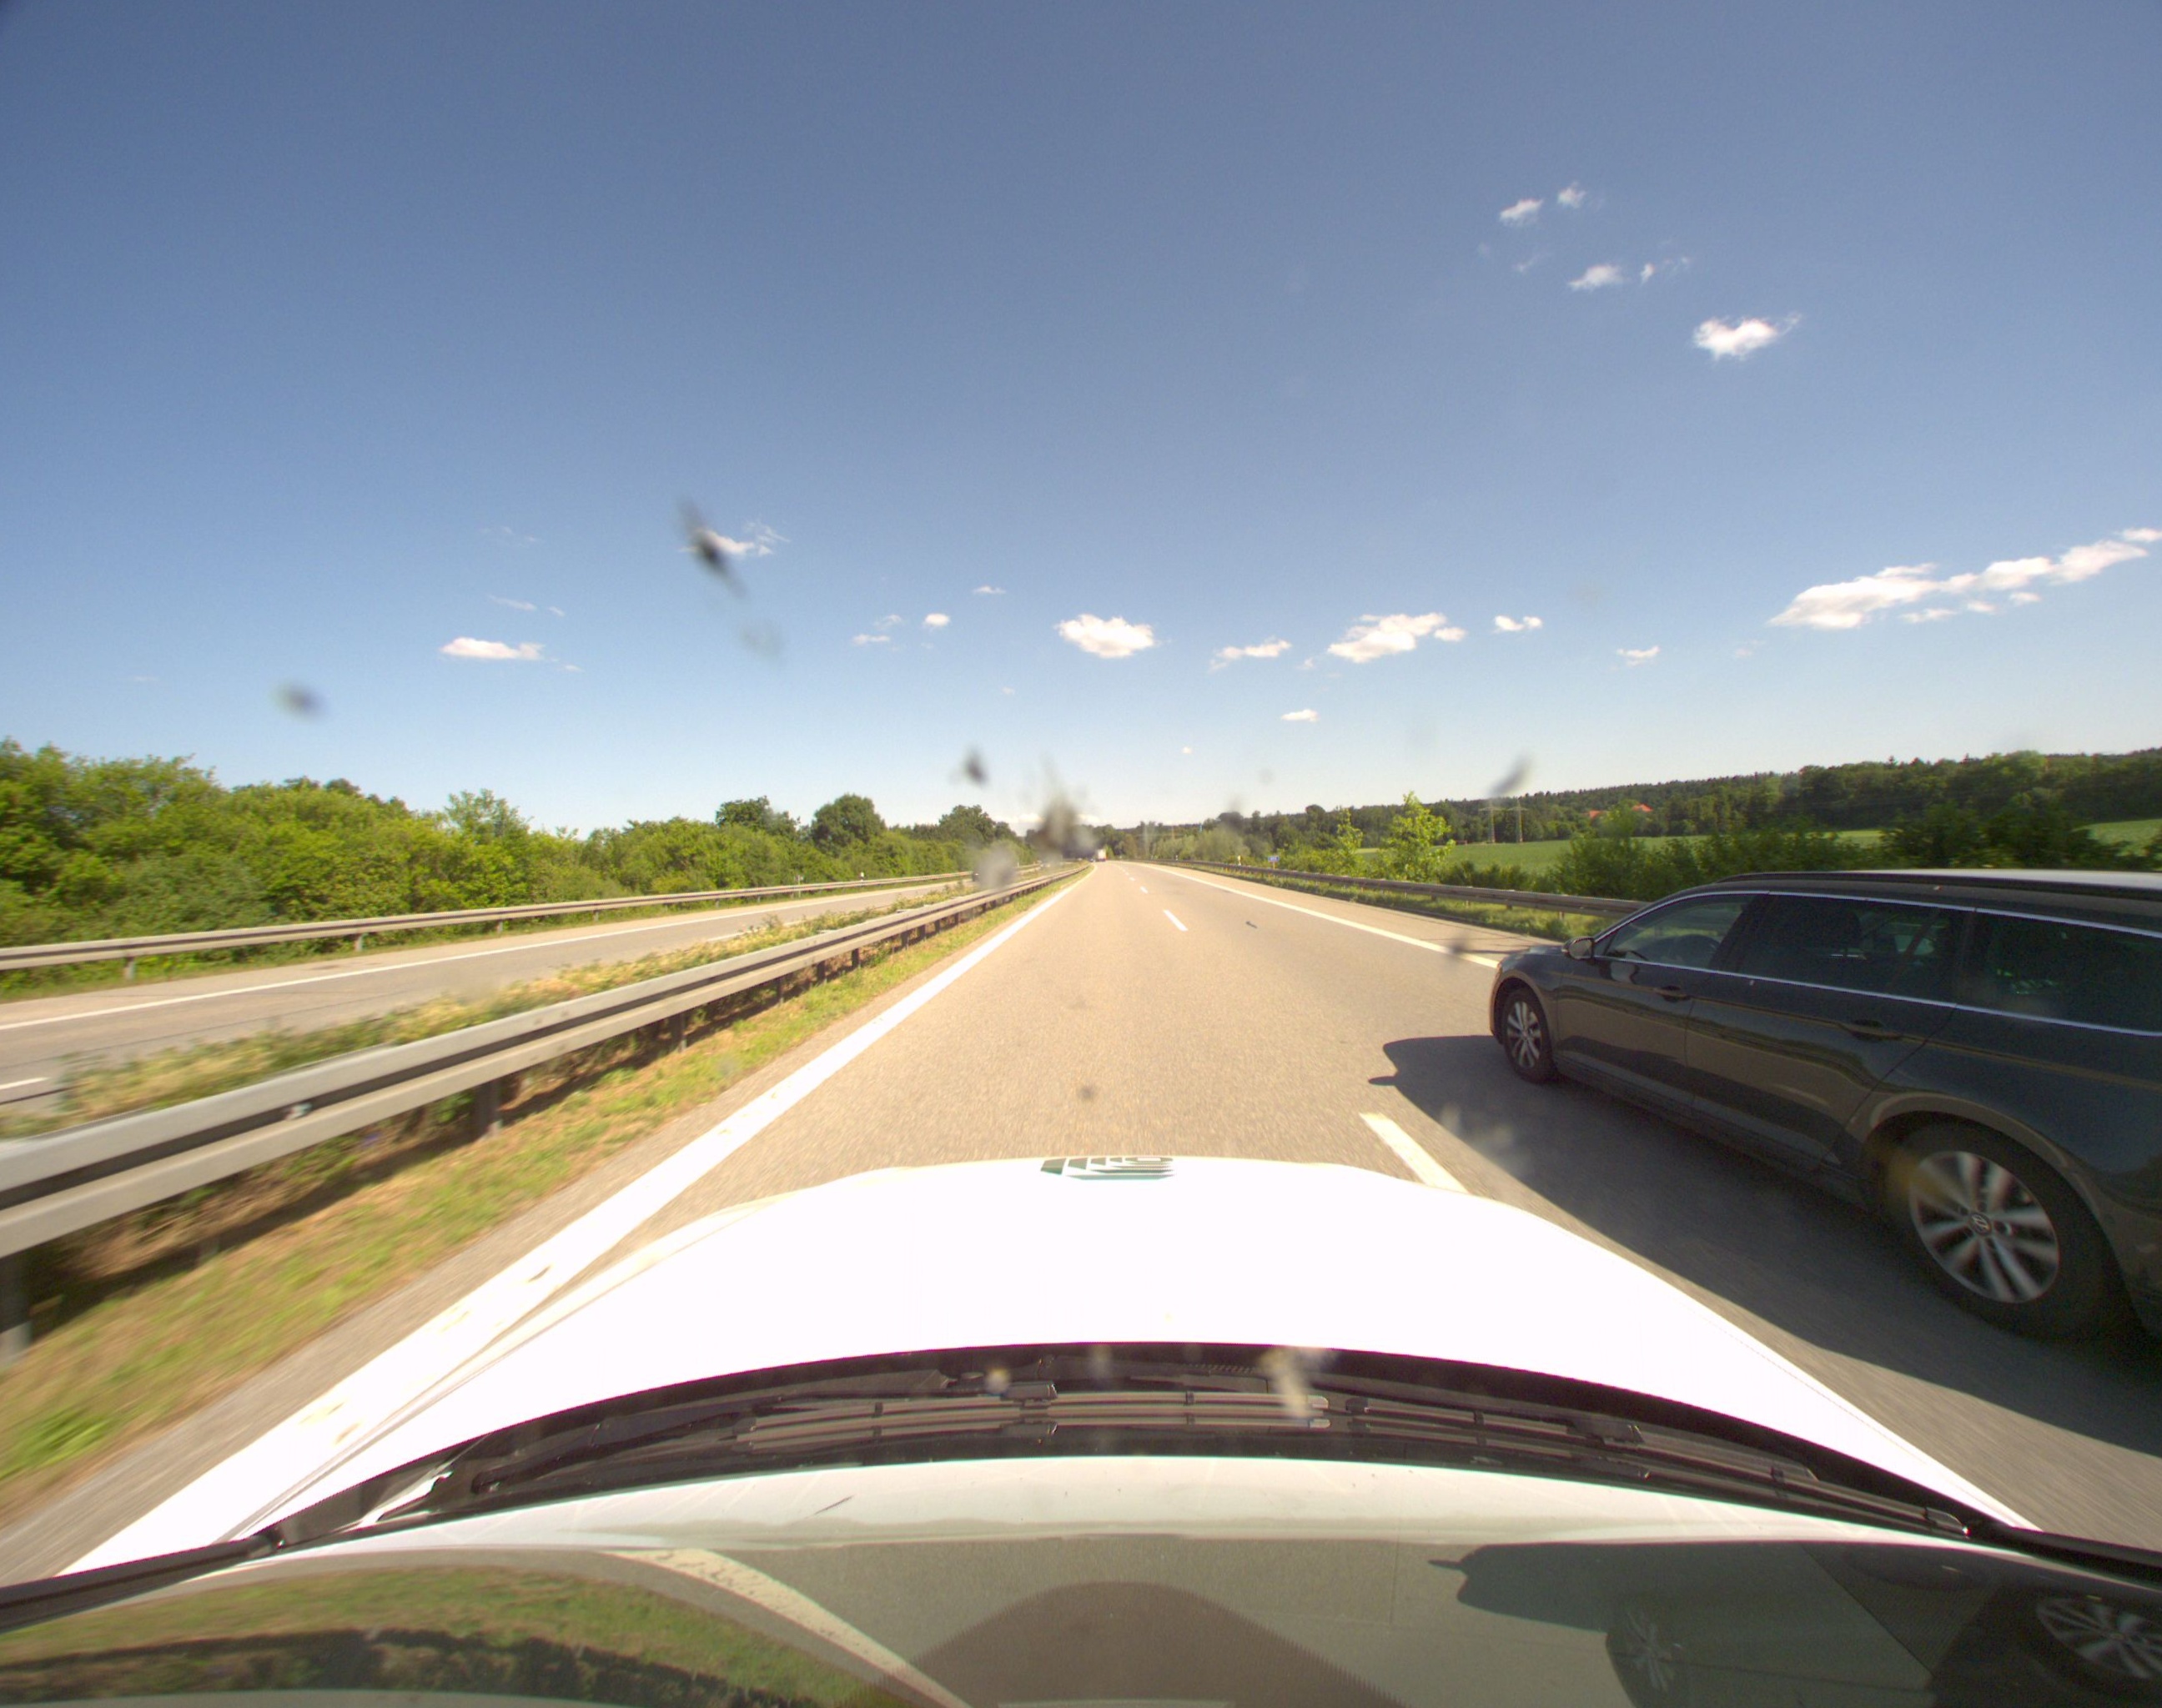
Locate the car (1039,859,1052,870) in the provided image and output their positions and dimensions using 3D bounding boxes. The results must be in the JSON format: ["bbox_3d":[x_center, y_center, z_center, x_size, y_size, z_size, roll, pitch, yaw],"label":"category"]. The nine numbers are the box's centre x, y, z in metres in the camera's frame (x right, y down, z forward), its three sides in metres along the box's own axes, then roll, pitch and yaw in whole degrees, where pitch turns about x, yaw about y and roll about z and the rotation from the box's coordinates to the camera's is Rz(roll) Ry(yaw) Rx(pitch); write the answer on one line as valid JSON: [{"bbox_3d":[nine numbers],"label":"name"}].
[{"bbox_3d":[-5.833,1.784,135.753,1.904,1.588,4.916,-4,0,0],"label":"car"}]

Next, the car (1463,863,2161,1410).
[{"bbox_3d":[3.698,0.753,3.958,1.712,1.400,4.414,0,-1,1],"label":"car"}]

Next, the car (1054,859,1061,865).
[{"bbox_3d":[-6.739,2.308,231.704,1.671,1.441,4.000,-5,0,0],"label":"car"}]

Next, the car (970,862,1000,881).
[{"bbox_3d":[-8.502,1.520,72.432,1.732,1.445,4.771,-3,0,3],"label":"car"}]
